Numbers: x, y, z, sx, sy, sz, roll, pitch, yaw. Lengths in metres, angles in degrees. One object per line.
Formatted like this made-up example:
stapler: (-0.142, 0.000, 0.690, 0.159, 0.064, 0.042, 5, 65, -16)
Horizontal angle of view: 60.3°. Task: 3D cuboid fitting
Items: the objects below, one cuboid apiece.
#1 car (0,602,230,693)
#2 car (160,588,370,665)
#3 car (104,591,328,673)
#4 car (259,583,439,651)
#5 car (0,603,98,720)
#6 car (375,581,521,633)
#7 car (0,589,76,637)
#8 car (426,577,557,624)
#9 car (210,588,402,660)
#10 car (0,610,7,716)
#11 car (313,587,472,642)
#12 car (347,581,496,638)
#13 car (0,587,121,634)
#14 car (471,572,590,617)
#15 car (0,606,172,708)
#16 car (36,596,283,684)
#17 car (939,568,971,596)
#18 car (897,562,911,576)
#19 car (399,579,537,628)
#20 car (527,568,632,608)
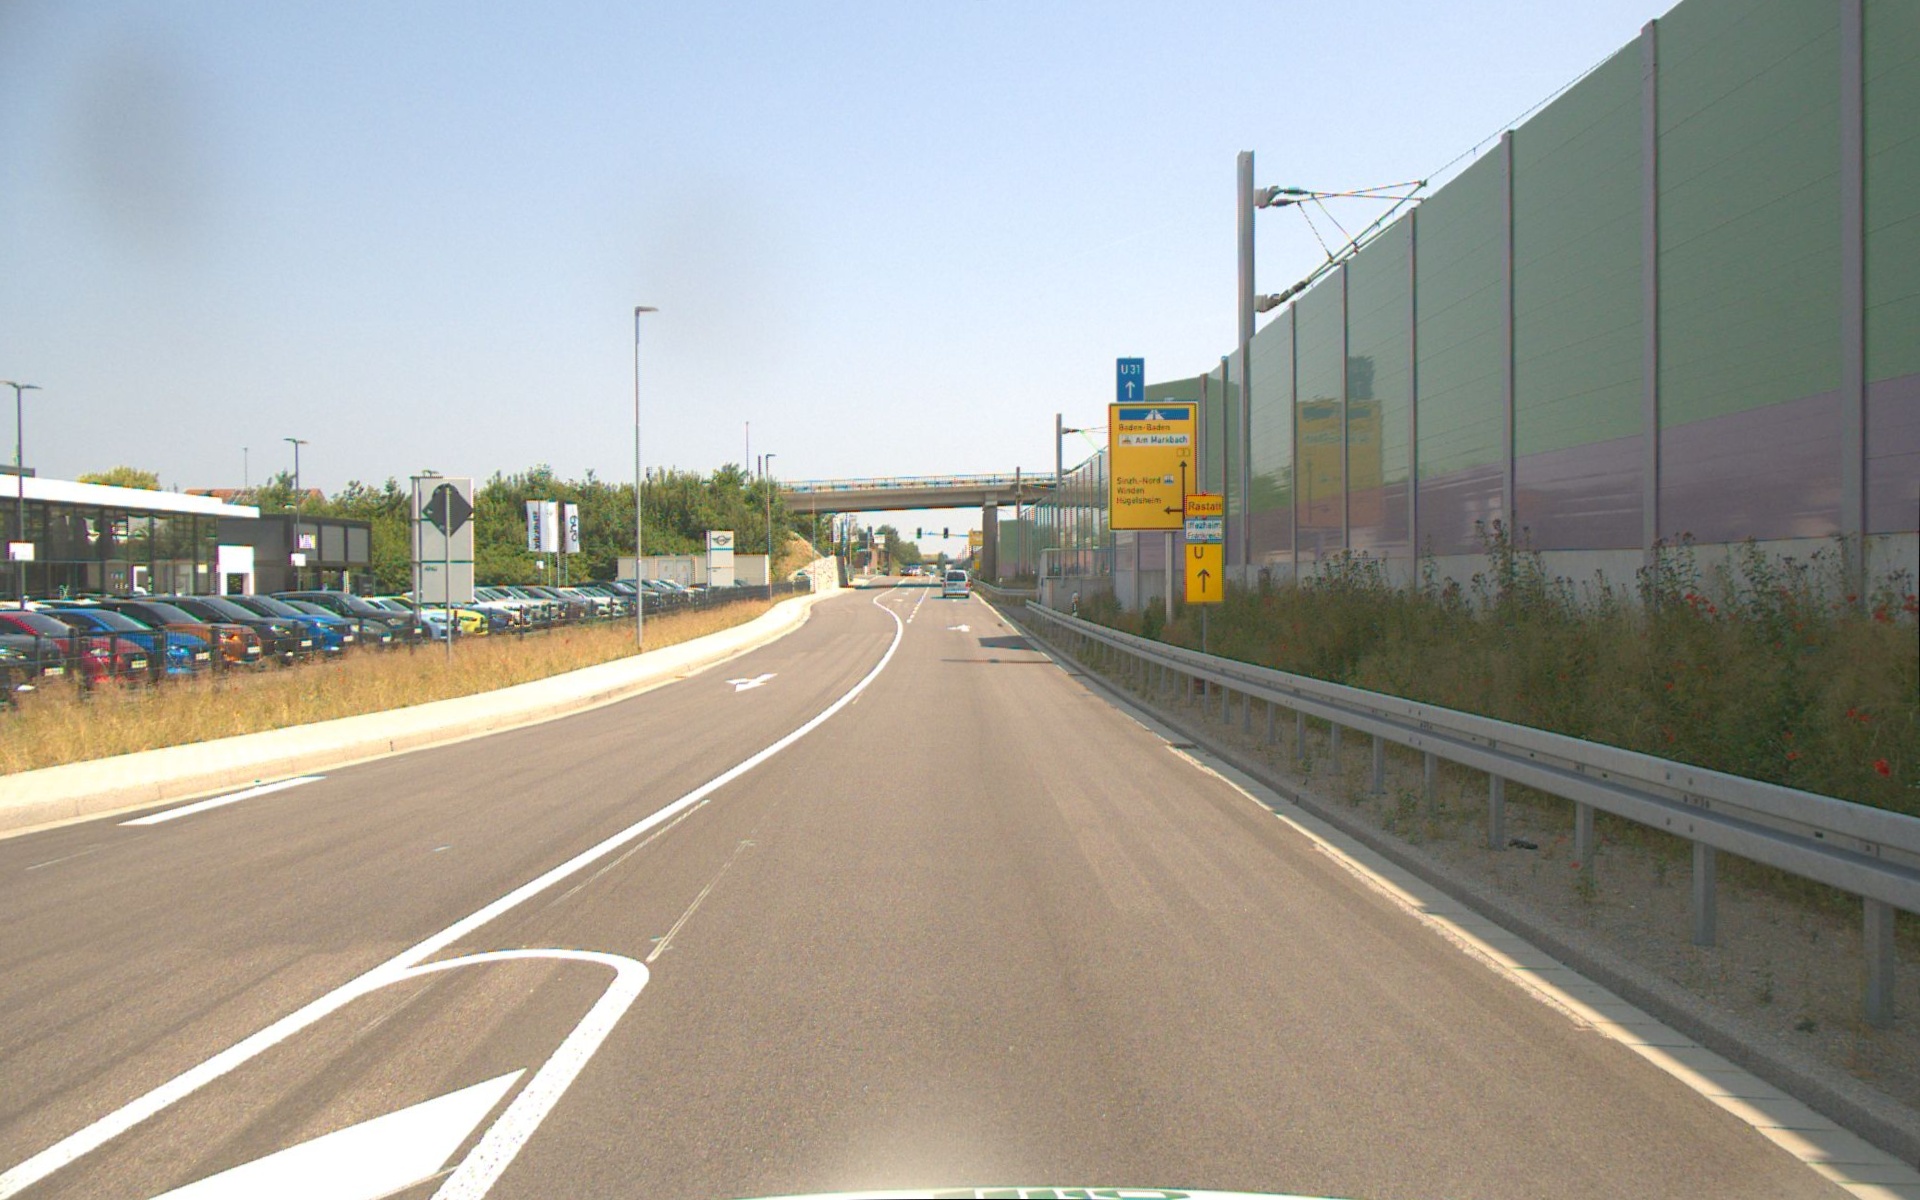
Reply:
car: (-15.804, 0.856, 30.436, 3.907, 1.470, 1.786, -1, 2, -3)
car: (-15.806, 0.586, 37.791, 3.907, 1.561, 1.971, -1, 2, -2)
car: (-15.852, 0.665, 35.374, 3.907, 1.561, 1.815, -1, 2, -3)
car: (-15.886, 0.418, 43.181, 3.907, 1.599, 2.053, -1, 2, -2)
car: (-15.719, 0.963, 25.428, 3.907, 1.664, 1.815, -1, 2, -3)
car: (-16.392, 0.203, 53.104, 4.079, 1.492, 1.815, -1, 2, 0)
car: (-32.193, 0.468, 55.447, 4.079, 1.492, 1.815, -1, 2, 0)
car: (-16.625, 0.004, 58.837, 4.079, 1.492, 1.815, -1, 2, 0)
car: (-15.913, 0.558, 40.380, 3.907, 1.561, 1.815, -1, 2, -3)
car: (-15.700, 0.979, 22.839, 3.907, 1.506, 1.911, -1, 2, -2)
car: (-16.374, 0.397, 47.859, 3.905, 1.415, 1.879, -1, 2, 0)
car: (-16.393, 0.270, 50.474, 3.905, 1.561, 1.815, -1, 2, 0)
car: (-32.002, 0.368, 58.055, 4.079, 1.492, 1.815, -1, 2, 0)
car: (-16.580, -0.236, 63.983, 4.079, 1.571, 1.815, -1, 2, 0)
car: (-15.741, 0.962, 27.964, 3.907, 1.555, 1.815, -1, 2, -3)
car: (-15.773, 0.760, 32.754, 3.907, 1.520, 1.914, -1, 2, -2)
car: (-0.307, -1.202, 108.519, 1.952, 1.787, 4.001, -1, 2, 1)
car: (-8.170, -4.581, 240.744, 1.953, 1.959, 4.000, -1, 1, -1)
car: (-16.599, 0.100, 55.954, 4.079, 1.492, 1.815, -1, 2, 0)
car: (-16.532, -0.536, 71.979, 4.079, 1.571, 1.815, -1, 2, 0)
